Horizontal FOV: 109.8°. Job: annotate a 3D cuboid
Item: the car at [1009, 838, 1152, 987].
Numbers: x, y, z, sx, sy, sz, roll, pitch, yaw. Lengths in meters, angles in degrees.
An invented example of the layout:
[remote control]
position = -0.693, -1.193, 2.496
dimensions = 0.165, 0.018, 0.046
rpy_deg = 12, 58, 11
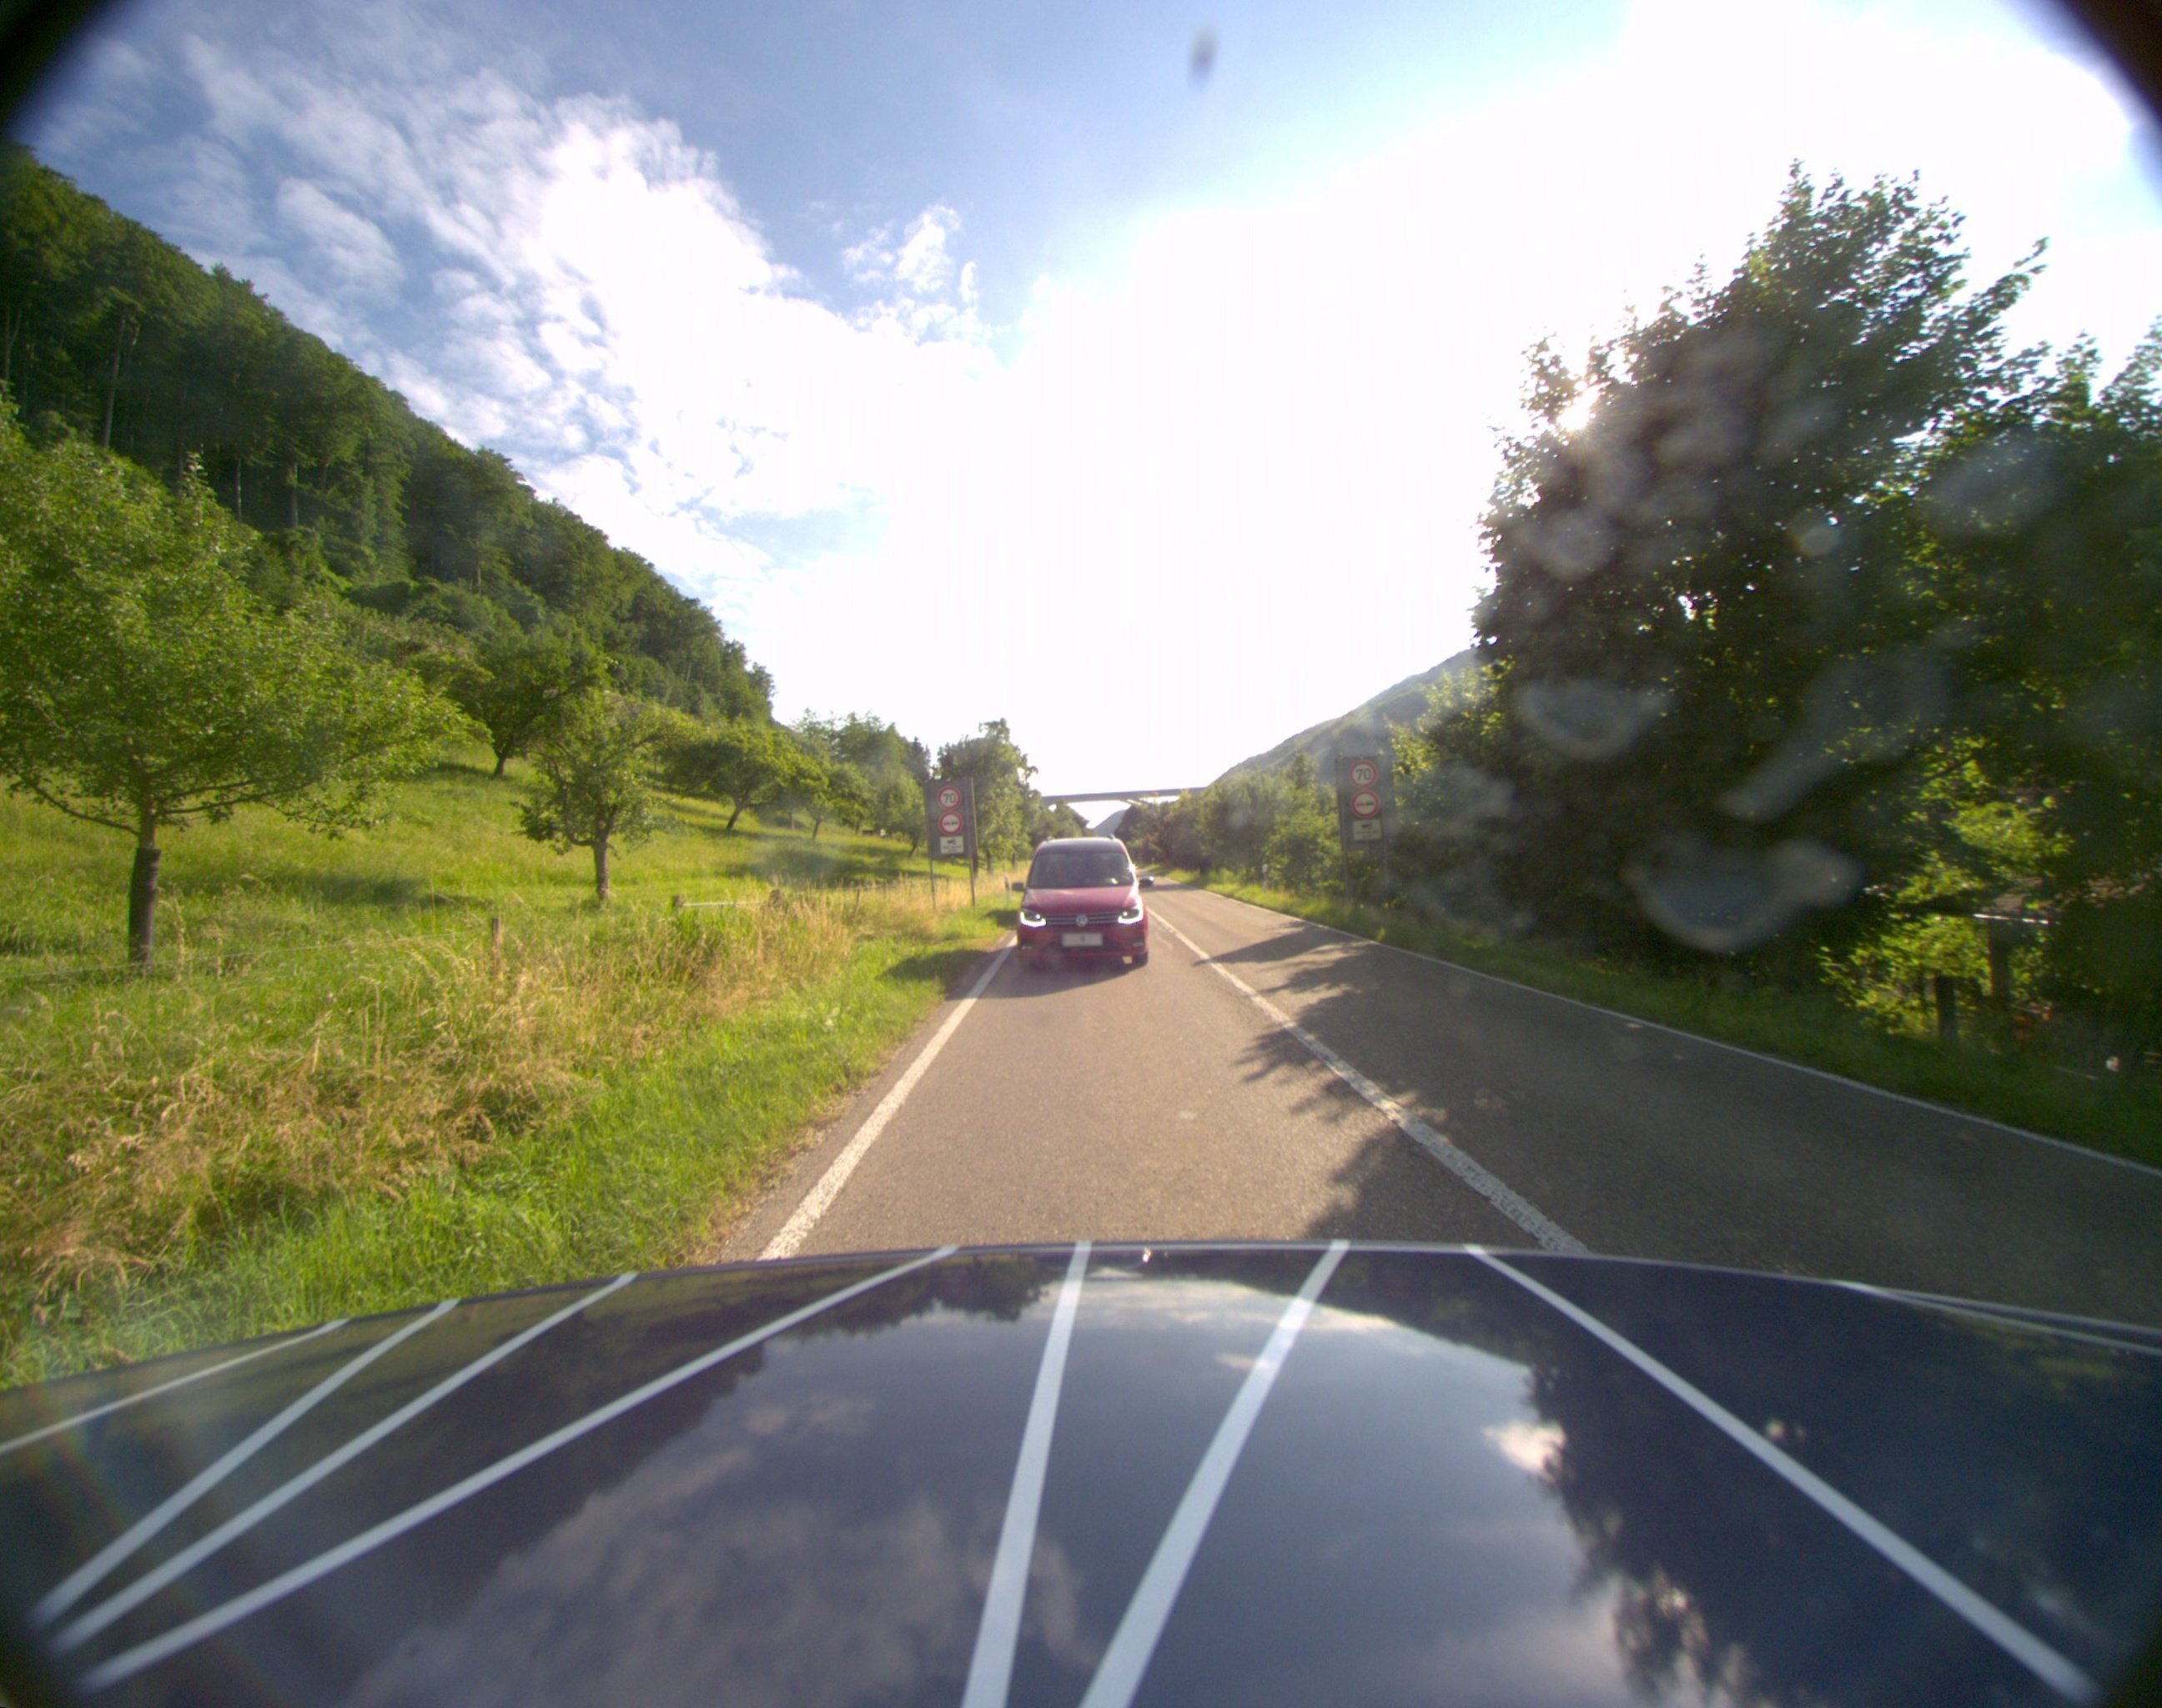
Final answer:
[car]
position = -0.010, 0.731, 11.438
dimensions = 1.741, 1.803, 4.000
rpy_deg = -1, 0, 0
